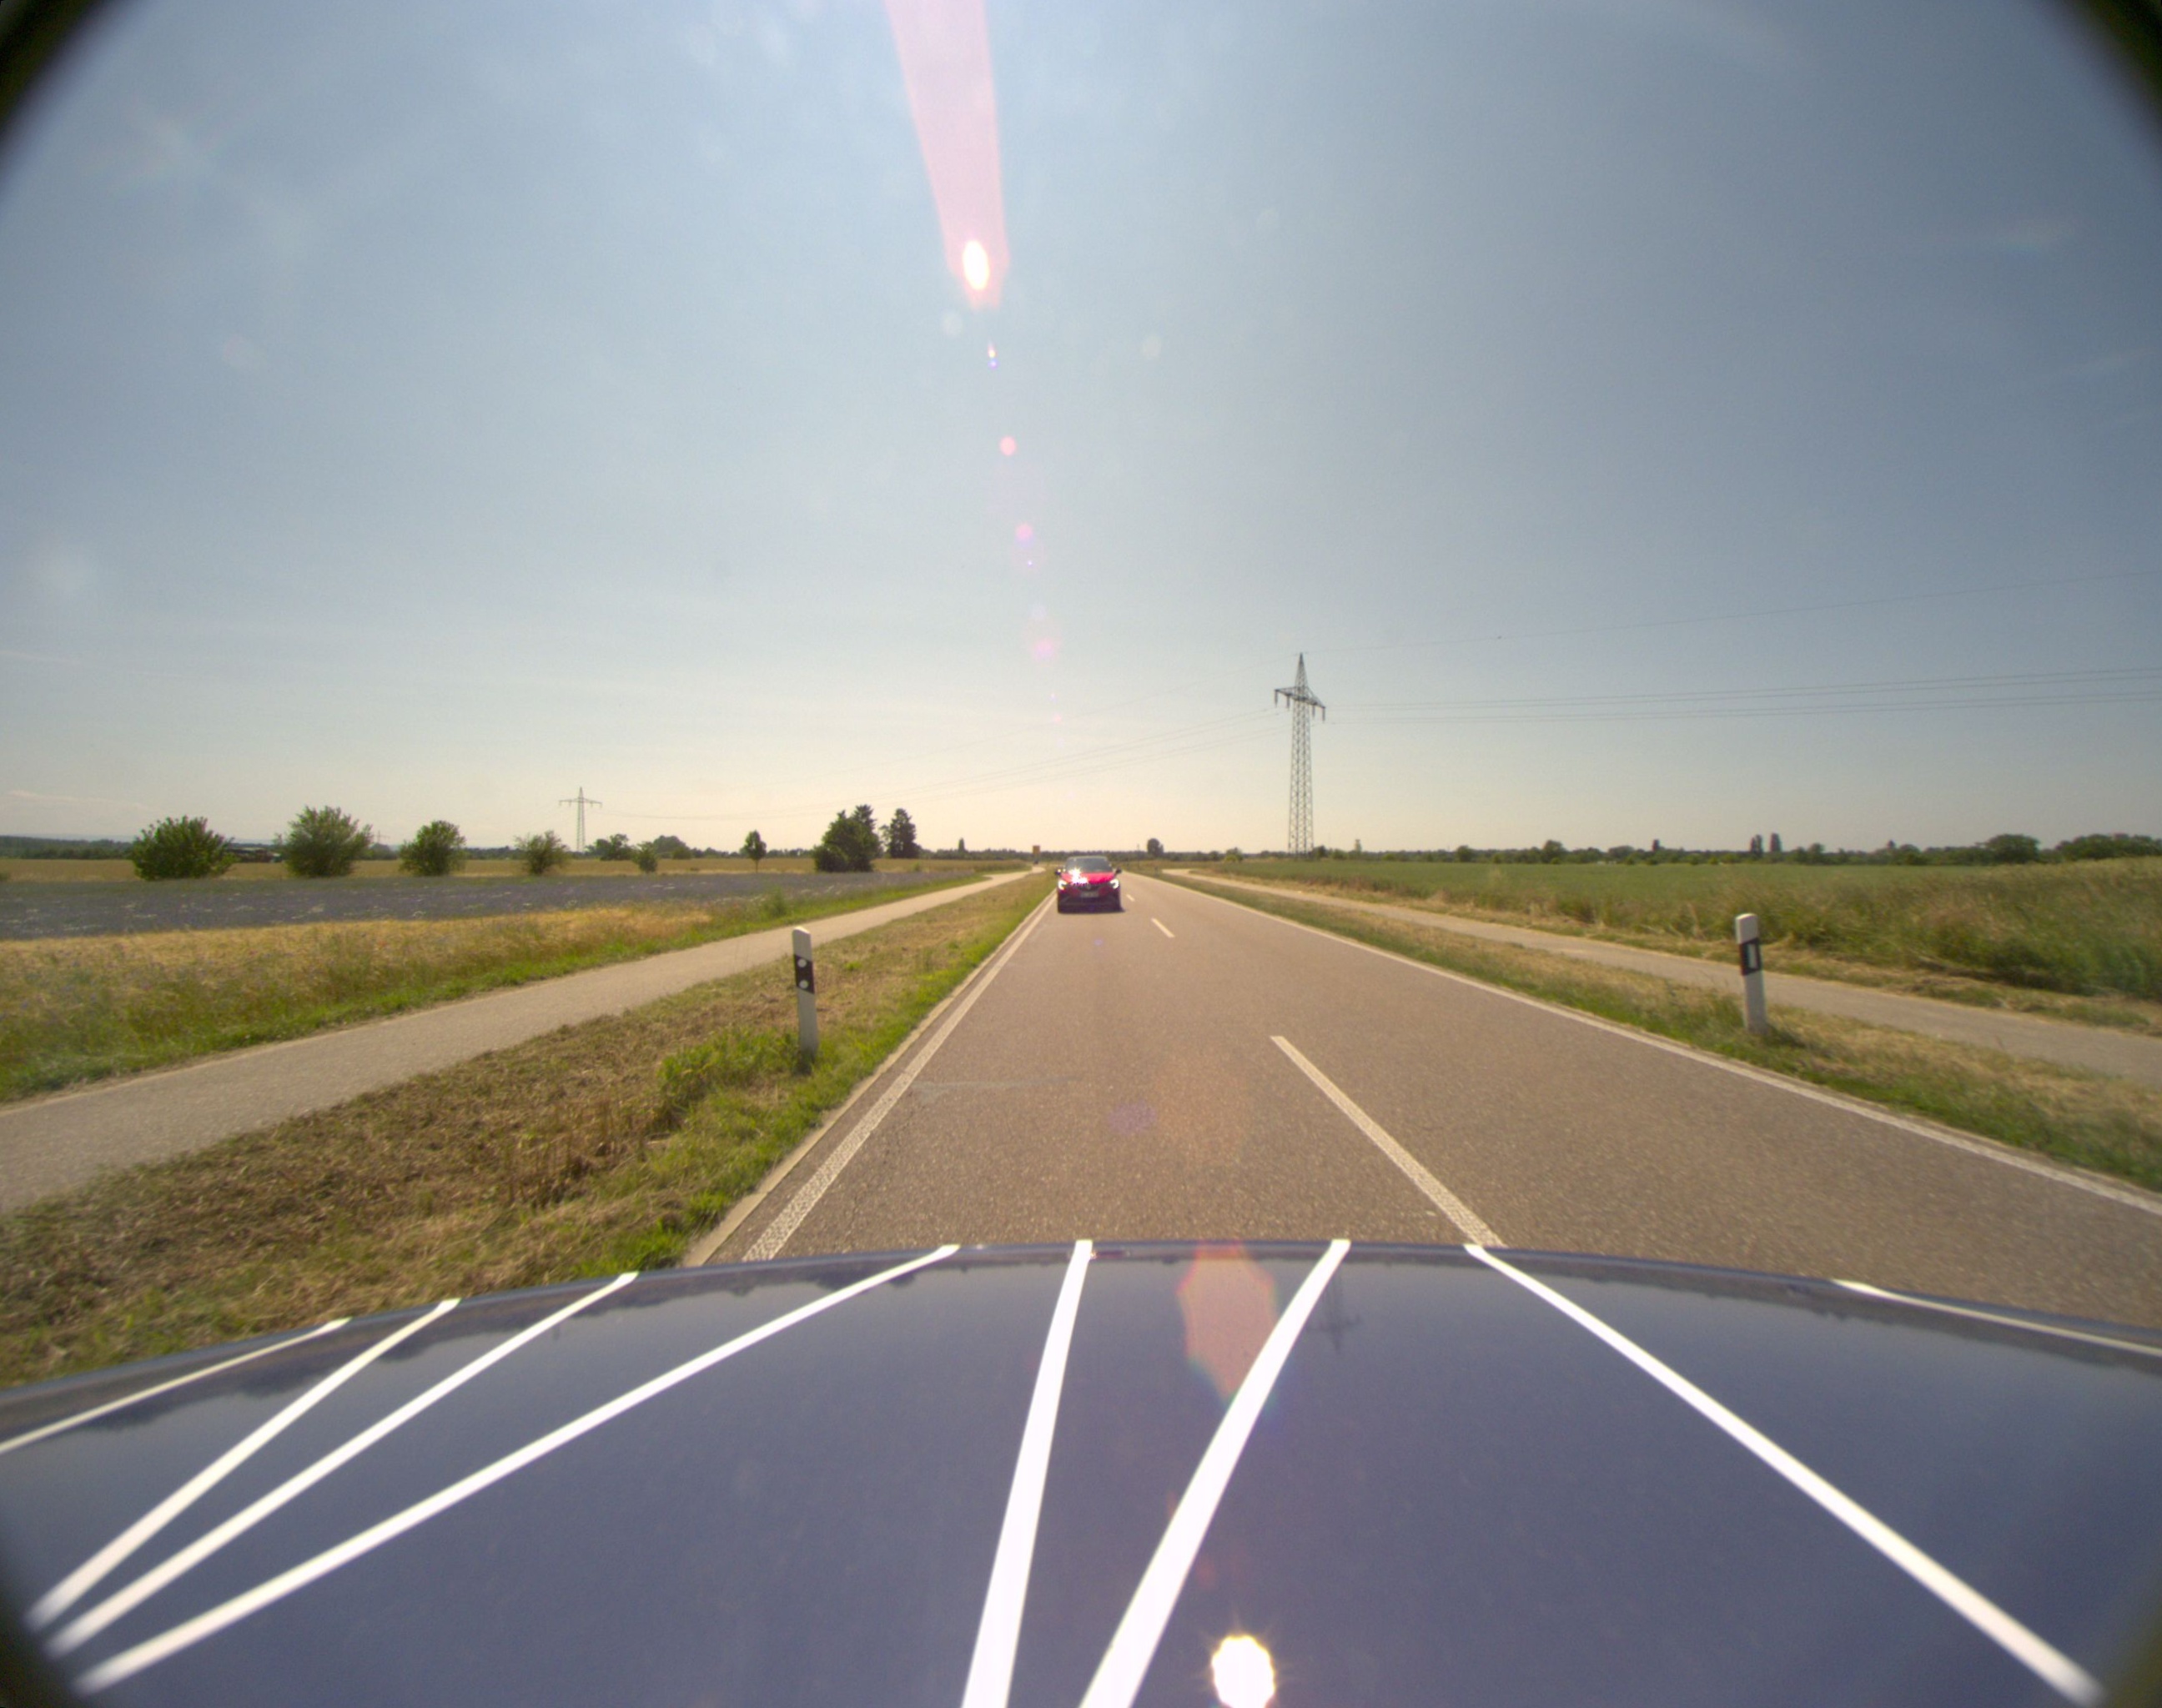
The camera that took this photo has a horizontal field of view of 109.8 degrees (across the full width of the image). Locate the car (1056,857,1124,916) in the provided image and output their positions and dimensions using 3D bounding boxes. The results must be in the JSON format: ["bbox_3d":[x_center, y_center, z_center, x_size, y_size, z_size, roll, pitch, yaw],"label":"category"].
[{"bbox_3d":[0.165,0.888,23.086,1.827,1.543,4.448,-2,0,-2],"label":"car"}]
